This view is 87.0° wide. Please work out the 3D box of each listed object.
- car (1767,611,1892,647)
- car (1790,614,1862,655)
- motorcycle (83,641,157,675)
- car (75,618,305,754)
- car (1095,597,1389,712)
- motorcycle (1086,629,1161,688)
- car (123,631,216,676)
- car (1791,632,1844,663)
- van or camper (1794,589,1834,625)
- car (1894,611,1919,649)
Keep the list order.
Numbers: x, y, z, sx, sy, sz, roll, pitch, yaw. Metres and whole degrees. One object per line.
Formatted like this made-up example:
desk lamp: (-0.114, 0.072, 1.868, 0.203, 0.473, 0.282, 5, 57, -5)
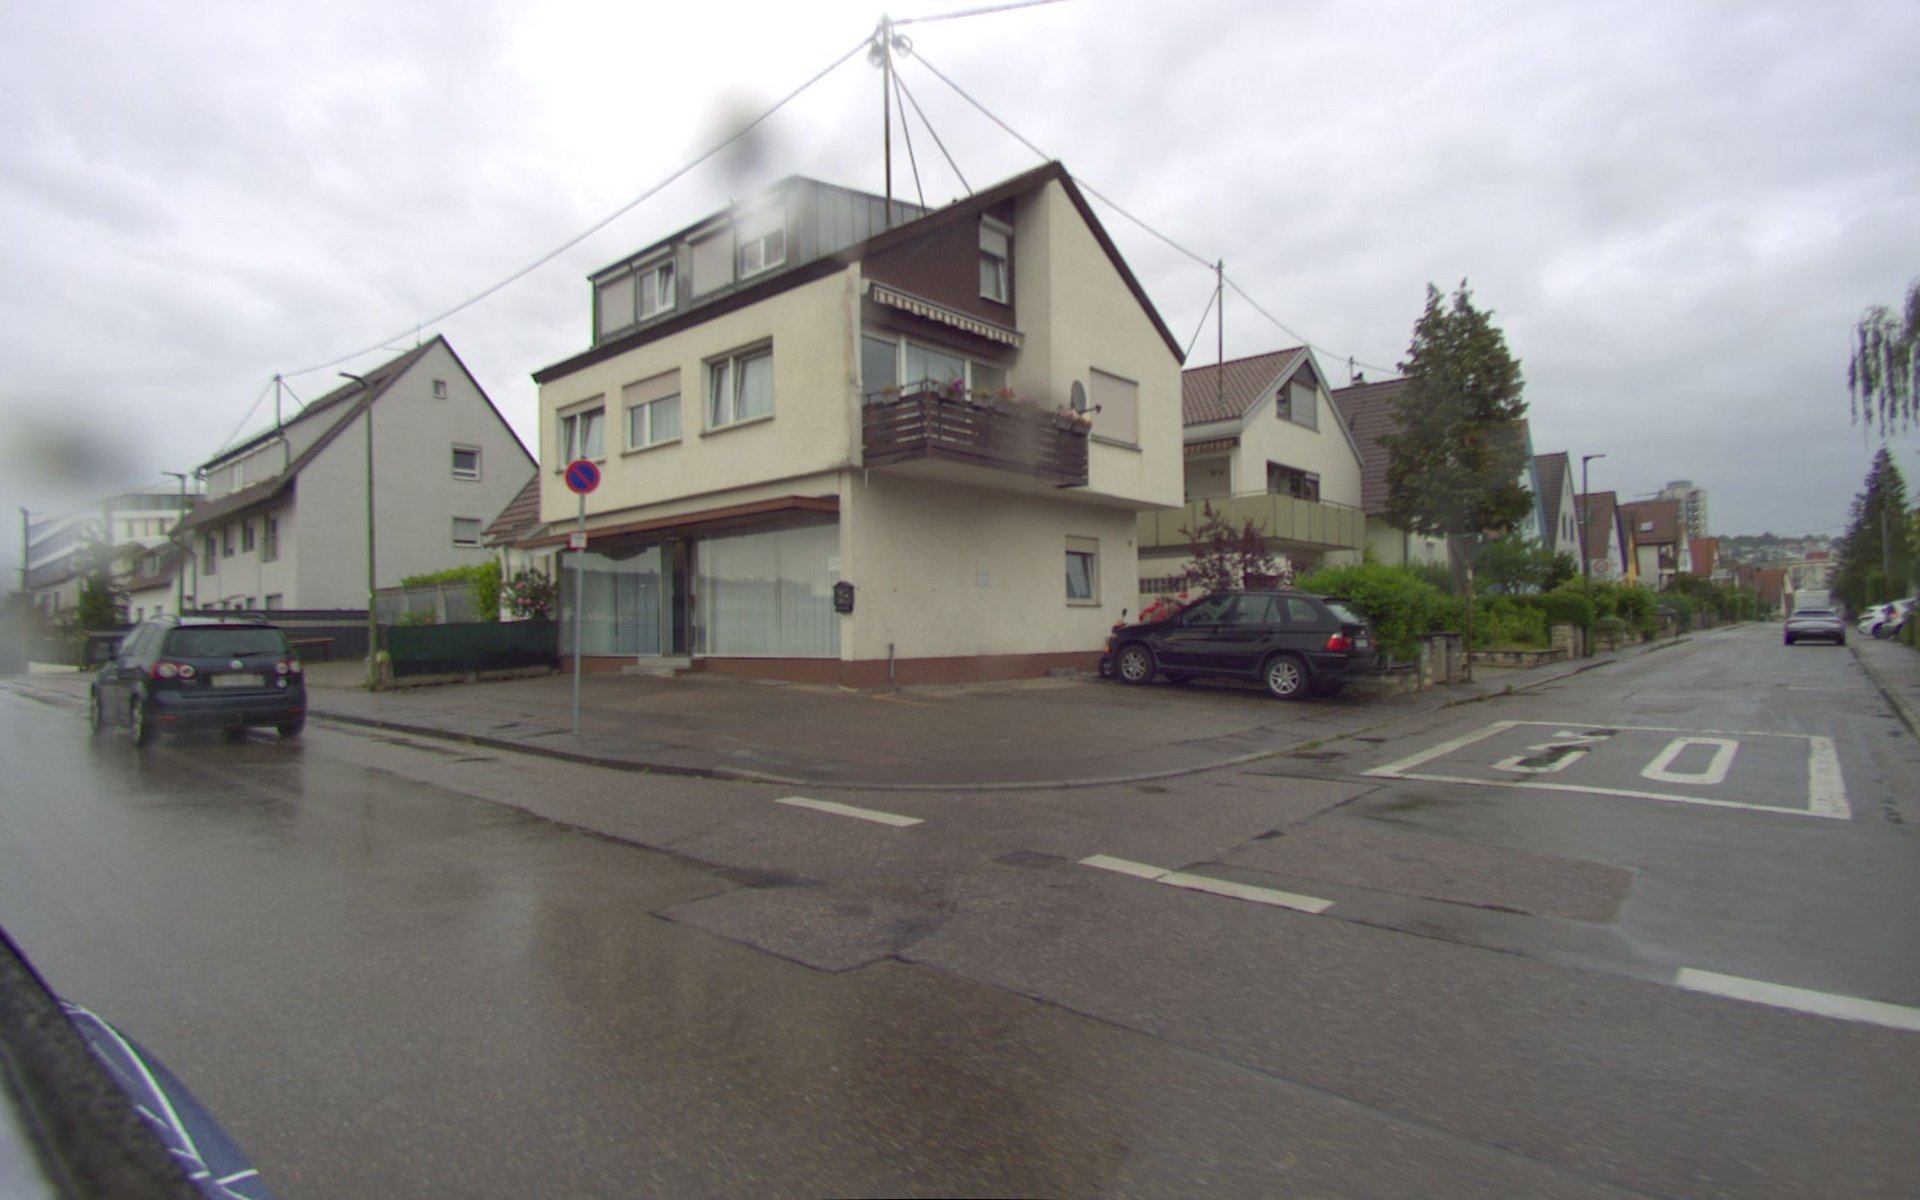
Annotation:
car: (37.829, 1.248, 44.067, 4.001, 1.453, 1.971, -2, -1, 44)
car: (33.270, 1.303, 38.862, 1.999, 1.453, 3.944, -2, -1, 42)
motorcycle: (-36.108, 2.497, 43.545, 0.736, 1.283, 2.337, -4, -1, 42)
car: (-10.255, 1.031, 13.379, 3.998, 1.539, 1.658, -2, -2, 41)
car: (4.757, 0.829, 17.474, 4.543, 1.671, 1.839, 1, 0, 41)
motorcycle: (3.214, 1.137, 19.797, 0.613, 1.090, 1.815, -2, -4, 40)
car: (-30.672, 2.089, 39.203, 4.894, 1.521, 1.973, -4, 0, 42)
car: (44.758, 2.456, 52.790, 1.999, 1.453, 3.944, -2, -1, 42)
van or camper: (69.465, 0.576, 82.250, 2.263, 2.818, 6.382, -2, -1, 42)
car: (38.368, 1.128, 38.577, 4.001, 1.453, 1.971, -2, -1, 44)
